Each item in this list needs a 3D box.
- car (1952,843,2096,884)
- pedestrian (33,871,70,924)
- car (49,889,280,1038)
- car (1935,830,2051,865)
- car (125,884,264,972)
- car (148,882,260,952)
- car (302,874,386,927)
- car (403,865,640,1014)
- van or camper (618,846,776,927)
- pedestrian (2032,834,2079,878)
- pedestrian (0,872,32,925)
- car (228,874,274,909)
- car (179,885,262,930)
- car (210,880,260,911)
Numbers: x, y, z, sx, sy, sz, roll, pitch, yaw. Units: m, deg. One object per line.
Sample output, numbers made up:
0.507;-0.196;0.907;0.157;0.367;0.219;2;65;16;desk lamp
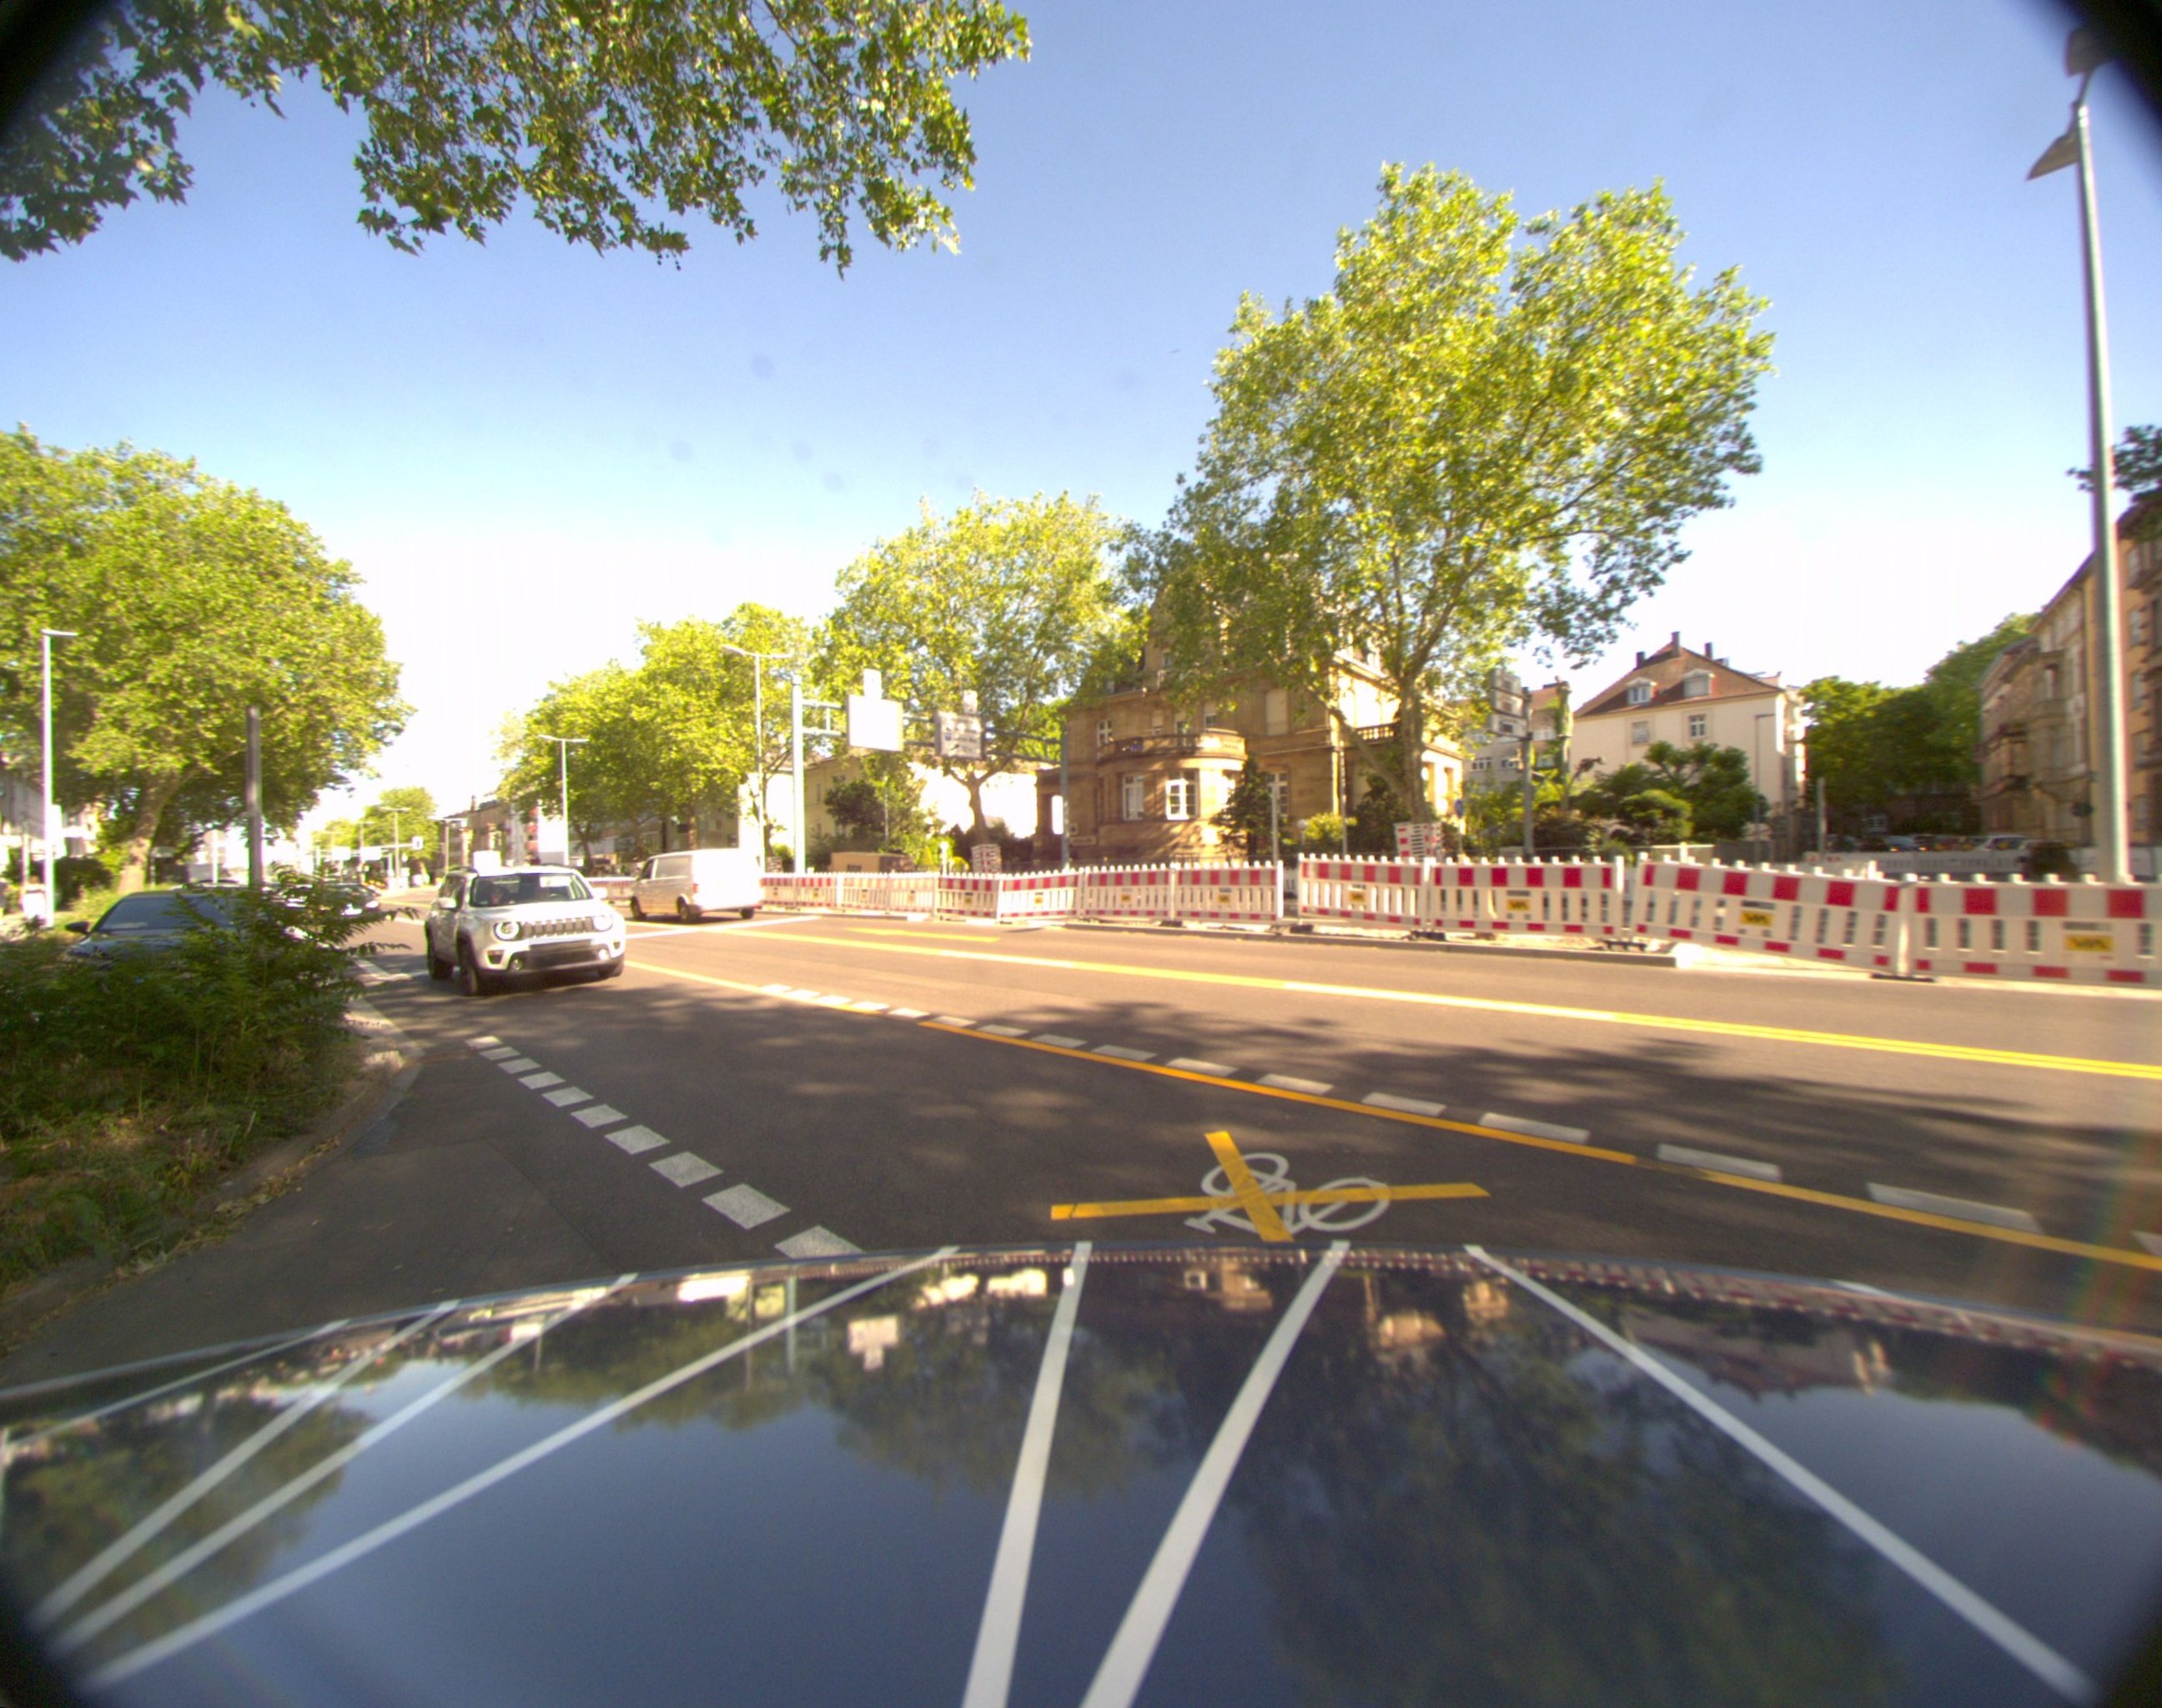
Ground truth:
41.214;0.419;33.354;3.793;1.726;1.626;-1;0;45;car
-36.144;1.515;26.690;0.713;1.785;0.700;-1;0;42;pedestrian
-11.663;1.224;9.837;4.086;1.477;1.629;-2;-2;42;car
48.291;-0.319;40.348;3.793;1.726;1.626;-1;0;45;car
-17.518;1.355;15.107;4.045;1.477;1.629;-2;-2;42;car
-21.000;1.436;18.262;3.723;1.477;1.629;-2;-2;42;car
-27.683;1.676;28.501;4.494;1.716;1.873;-2;1;42;car
-8.465;1.093;11.333;4.494;1.716;1.873;-2;1;42;car
-10.998;0.862;21.565;5.313;2.002;2.004;-1;1;40;van or camper
37.283;0.068;29.075;0.759;1.651;0.829;-1;0;17;pedestrian
-36.778;1.514;26.147;0.799;1.785;0.700;-1;0;42;pedestrian
-49.491;2.184;45.271;4.494;1.954;1.758;-2;-1;42;car
-29.442;1.787;26.037;4.463;1.404;1.726;-2;-3;42;car
-44.353;2.150;39.831;3.986;1.508;1.679;-2;-1;42;car
